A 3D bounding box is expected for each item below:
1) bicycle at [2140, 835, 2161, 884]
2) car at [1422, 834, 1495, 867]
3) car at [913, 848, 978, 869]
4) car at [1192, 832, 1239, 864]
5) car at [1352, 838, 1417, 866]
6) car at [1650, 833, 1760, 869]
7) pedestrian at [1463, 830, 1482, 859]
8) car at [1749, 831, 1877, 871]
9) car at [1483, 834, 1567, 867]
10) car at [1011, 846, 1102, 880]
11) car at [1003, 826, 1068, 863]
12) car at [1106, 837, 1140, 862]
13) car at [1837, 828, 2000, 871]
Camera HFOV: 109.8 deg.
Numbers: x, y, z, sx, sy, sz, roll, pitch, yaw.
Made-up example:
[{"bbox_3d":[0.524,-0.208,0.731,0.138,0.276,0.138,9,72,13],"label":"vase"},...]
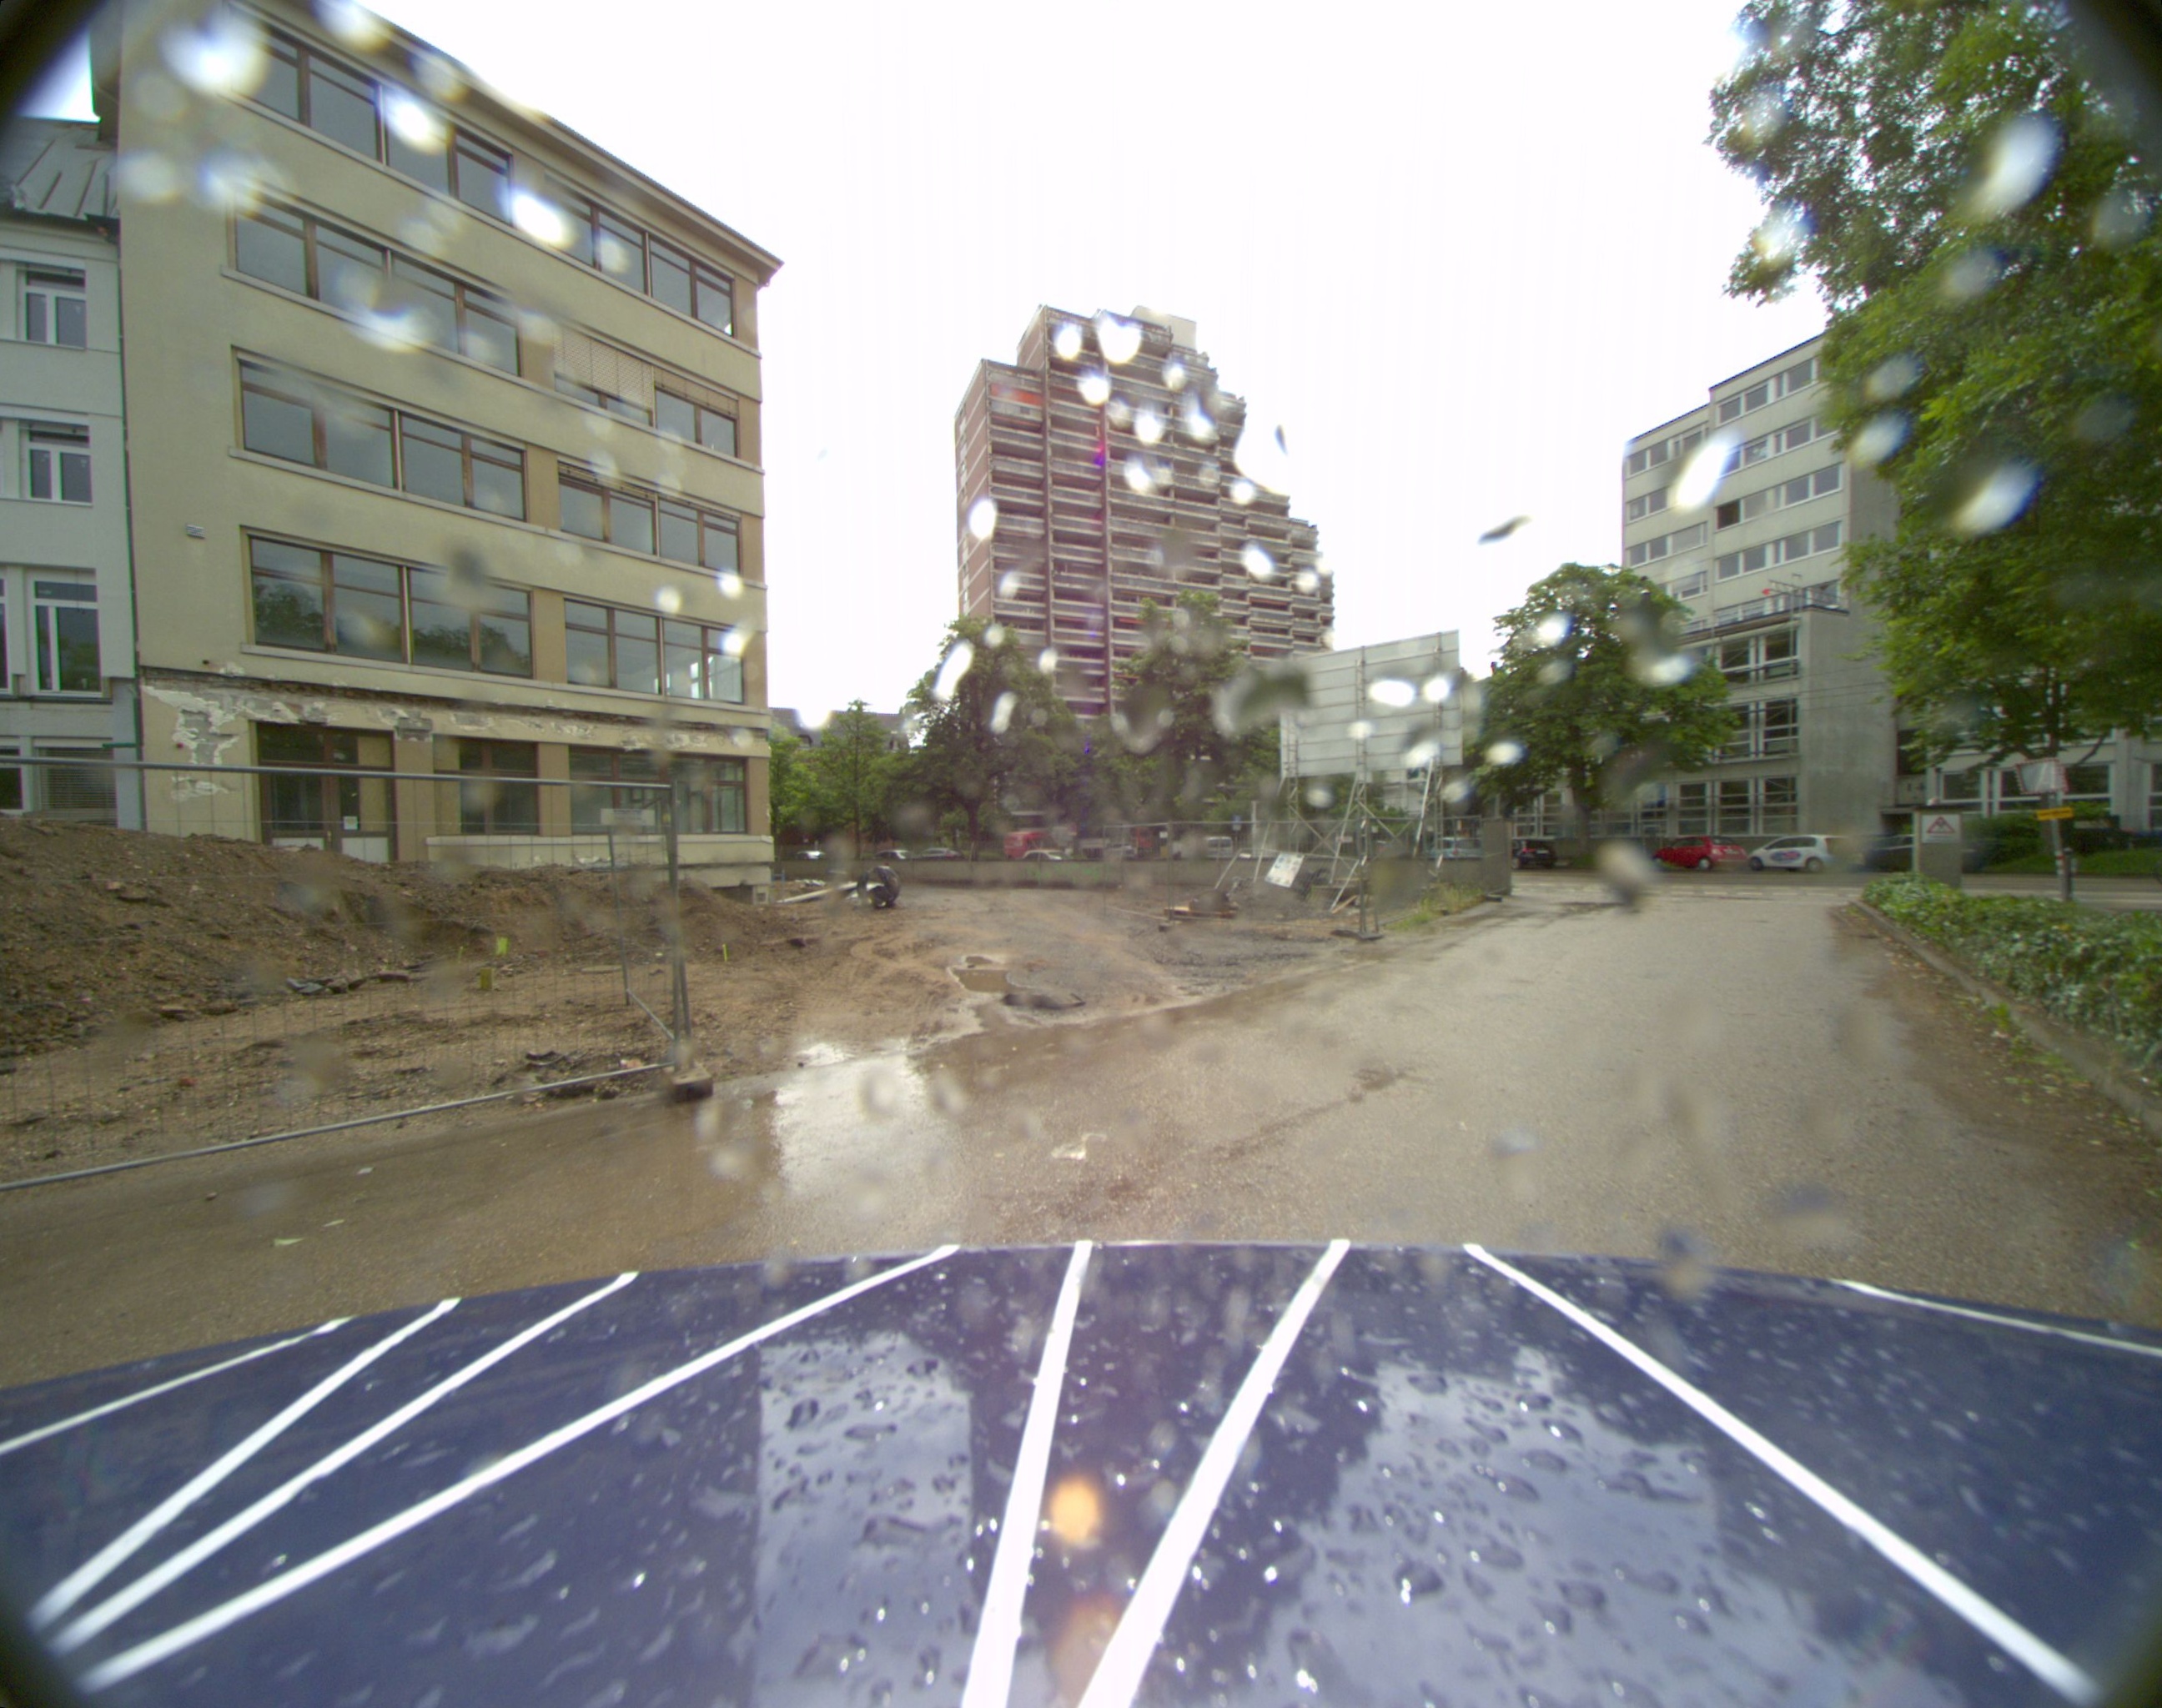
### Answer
[{"bbox_3d":[28.863,0.122,19.598,1.866,1.258,0.646,-1,0,10],"label":"bicycle"},{"bbox_3d":[18.886,-0.198,38.155,1.708,1.542,3.648,-1,1,-3],"label":"car"},{"bbox_3d":[-9.868,0.341,55.075,4.750,1.472,2.004,-1,0,39],"label":"car"},{"bbox_3d":[8.322,-0.386,47.543,1.937,1.886,4.643,-1,1,-2],"label":"car"},{"bbox_3d":[16.335,-0.144,41.073,1.769,1.389,3.647,-1,1,-6],"label":"car"},{"bbox_3d":[26.498,-0.150,32.410,1.741,1.461,3.406,0,1,-4],"label":"car"},{"bbox_3d":[24.169,-0.572,46.887,0.707,1.733,0.839,-1,0,0],"label":"pedestrian"},{"bbox_3d":[28.643,-0.160,29.866,1.709,1.444,3.406,-1,1,-1],"label":"car"},{"bbox_3d":[21.019,-0.179,36.130,1.741,1.461,3.648,-1,1,-4],"label":"car"},{"bbox_3d":[-1.161,0.424,35.089,3.989,1.462,1.894,-1,-1,42],"label":"car"},{"bbox_3d":[-3.446,-0.731,56.965,2.306,2.618,5.468,-1,1,-35],"label":"car"},{"bbox_3d":[2.896,-0.314,52.836,1.785,1.557,4.043,-1,3,-5],"label":"car"},{"bbox_3d":[31.126,-0.158,28.431,1.815,1.472,3.979,-1,0,3],"label":"car"}]
